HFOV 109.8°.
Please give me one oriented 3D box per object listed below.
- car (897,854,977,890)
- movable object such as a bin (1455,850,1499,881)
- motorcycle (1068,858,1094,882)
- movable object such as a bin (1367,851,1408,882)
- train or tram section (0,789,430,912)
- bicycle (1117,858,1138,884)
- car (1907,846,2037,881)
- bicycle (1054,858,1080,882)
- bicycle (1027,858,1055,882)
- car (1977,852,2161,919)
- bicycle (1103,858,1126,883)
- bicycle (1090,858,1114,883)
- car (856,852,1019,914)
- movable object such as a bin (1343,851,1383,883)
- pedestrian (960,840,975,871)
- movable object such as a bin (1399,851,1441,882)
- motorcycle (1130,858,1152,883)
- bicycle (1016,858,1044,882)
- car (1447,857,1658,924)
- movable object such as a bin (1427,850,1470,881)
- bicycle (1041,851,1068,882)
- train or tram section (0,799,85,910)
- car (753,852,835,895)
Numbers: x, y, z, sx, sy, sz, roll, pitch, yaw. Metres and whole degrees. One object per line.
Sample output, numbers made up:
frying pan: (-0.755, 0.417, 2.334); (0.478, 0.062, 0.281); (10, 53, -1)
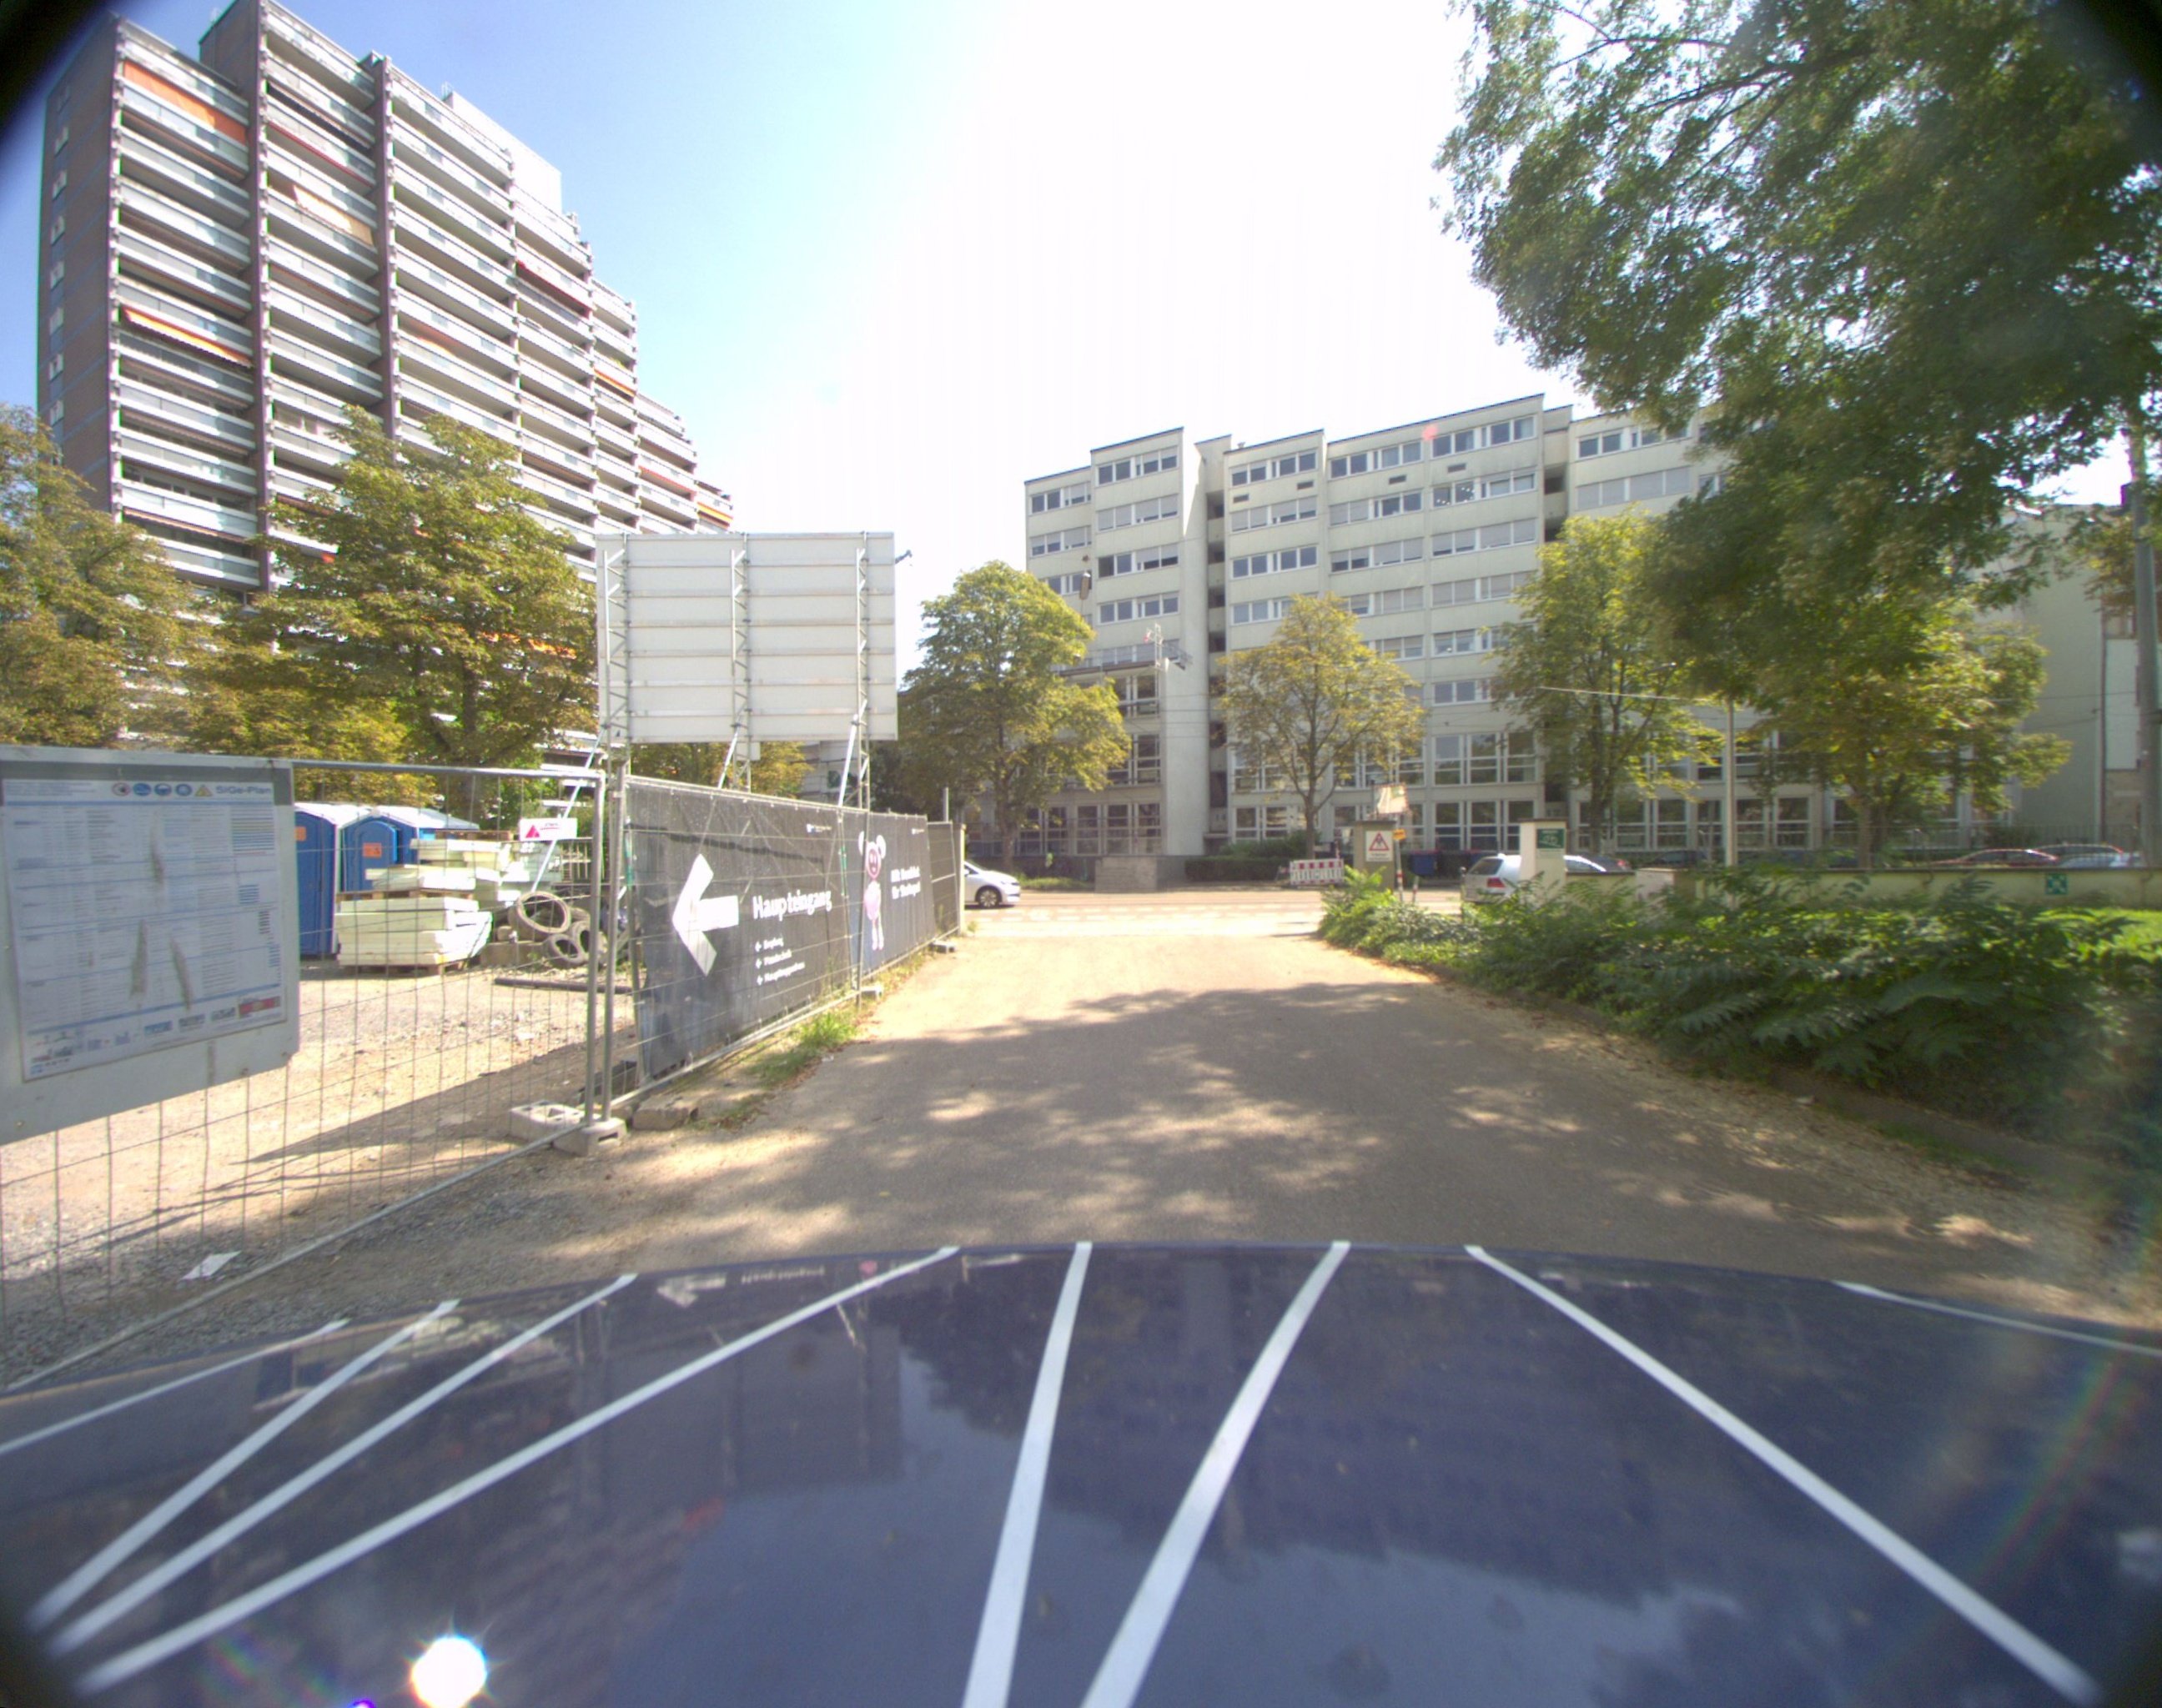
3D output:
car: (-6.521, 0.773, 34.243); (1.724, 1.499, 3.849); (0, 0, -44)
movable object such as a bin: (20.388, 0.589, 39.134); (1.353, 1.550, 1.688); (0, 0, -2)
motorcycle: (0.002, 0.838, 39.773); (0.742, 1.148, 2.009); (0, 2, 19)
movable object such as a bin: (15.716, 0.638, 38.995); (1.353, 1.550, 1.688); (0, 0, -2)
train or tram section: (-29.730, -0.106, 25.636); (12.402, 3.683, 3.508); (-1, 1, 0)
bicycle: (2.372, 0.842, 38.884); (0.561, 1.162, 2.348); (0, 2, 16)
car: (39.192, 0.369, 33.556); (1.680, 1.443, 3.660); (-1, 1, -42)
bicycle: (-0.726, 0.829, 39.925); (0.600, 1.162, 2.349); (0, 2, 19)
bicycle: (-2.119, 0.830, 40.392); (0.600, 1.153, 2.349); (0, 2, 19)
car: (24.272, 0.719, 18.216); (3.638, 1.503, 1.646); (0, 1, -1)
bicycle: (1.759, 0.834, 39.059); (0.621, 1.162, 2.348); (0, 2, 17)
bicycle: (1.092, 0.843, 39.235); (0.621, 1.162, 2.348); (0, 2, 17)
car: (-4.075, 0.784, 21.898); (4.362, 1.551, 1.998); (-1, 1, -10)
movable object such as a bin: (14.286, 0.650, 38.518); (1.353, 1.550, 1.688); (0, 0, -2)
pedestrian: (-6.585, 0.075, 43.957); (0.741, 1.777, 0.828); (-1, 1, -15)
movable object such as a bin: (17.360, 0.622, 38.926); (1.353, 1.550, 1.688); (0, 0, -2)
motorcycle: (3.067, 0.823, 38.775); (0.694, 1.176, 1.847); (0, 2, 19)
bicycle: (-2.711, 0.848, 40.607); (0.600, 1.153, 2.349); (0, 2, 19)
car: (10.743, 0.806, 17.525); (3.729, 1.437, 1.798); (0, -1, 2)
movable object such as a bin: (18.912, 0.605, 39.131); (1.353, 1.550, 1.688); (0, 0, -2)
bicycle: (-1.367, 0.643, 40.135); (0.600, 1.517, 2.349); (0, 2, 19)
train or tram section: (-42.187, 0.120, 25.635); (12.402, 3.683, 3.508); (-1, 1, 0)
car: (-12.606, 0.798, 33.219); (1.829, 1.761, 4.273); (-1, 0, -44)
